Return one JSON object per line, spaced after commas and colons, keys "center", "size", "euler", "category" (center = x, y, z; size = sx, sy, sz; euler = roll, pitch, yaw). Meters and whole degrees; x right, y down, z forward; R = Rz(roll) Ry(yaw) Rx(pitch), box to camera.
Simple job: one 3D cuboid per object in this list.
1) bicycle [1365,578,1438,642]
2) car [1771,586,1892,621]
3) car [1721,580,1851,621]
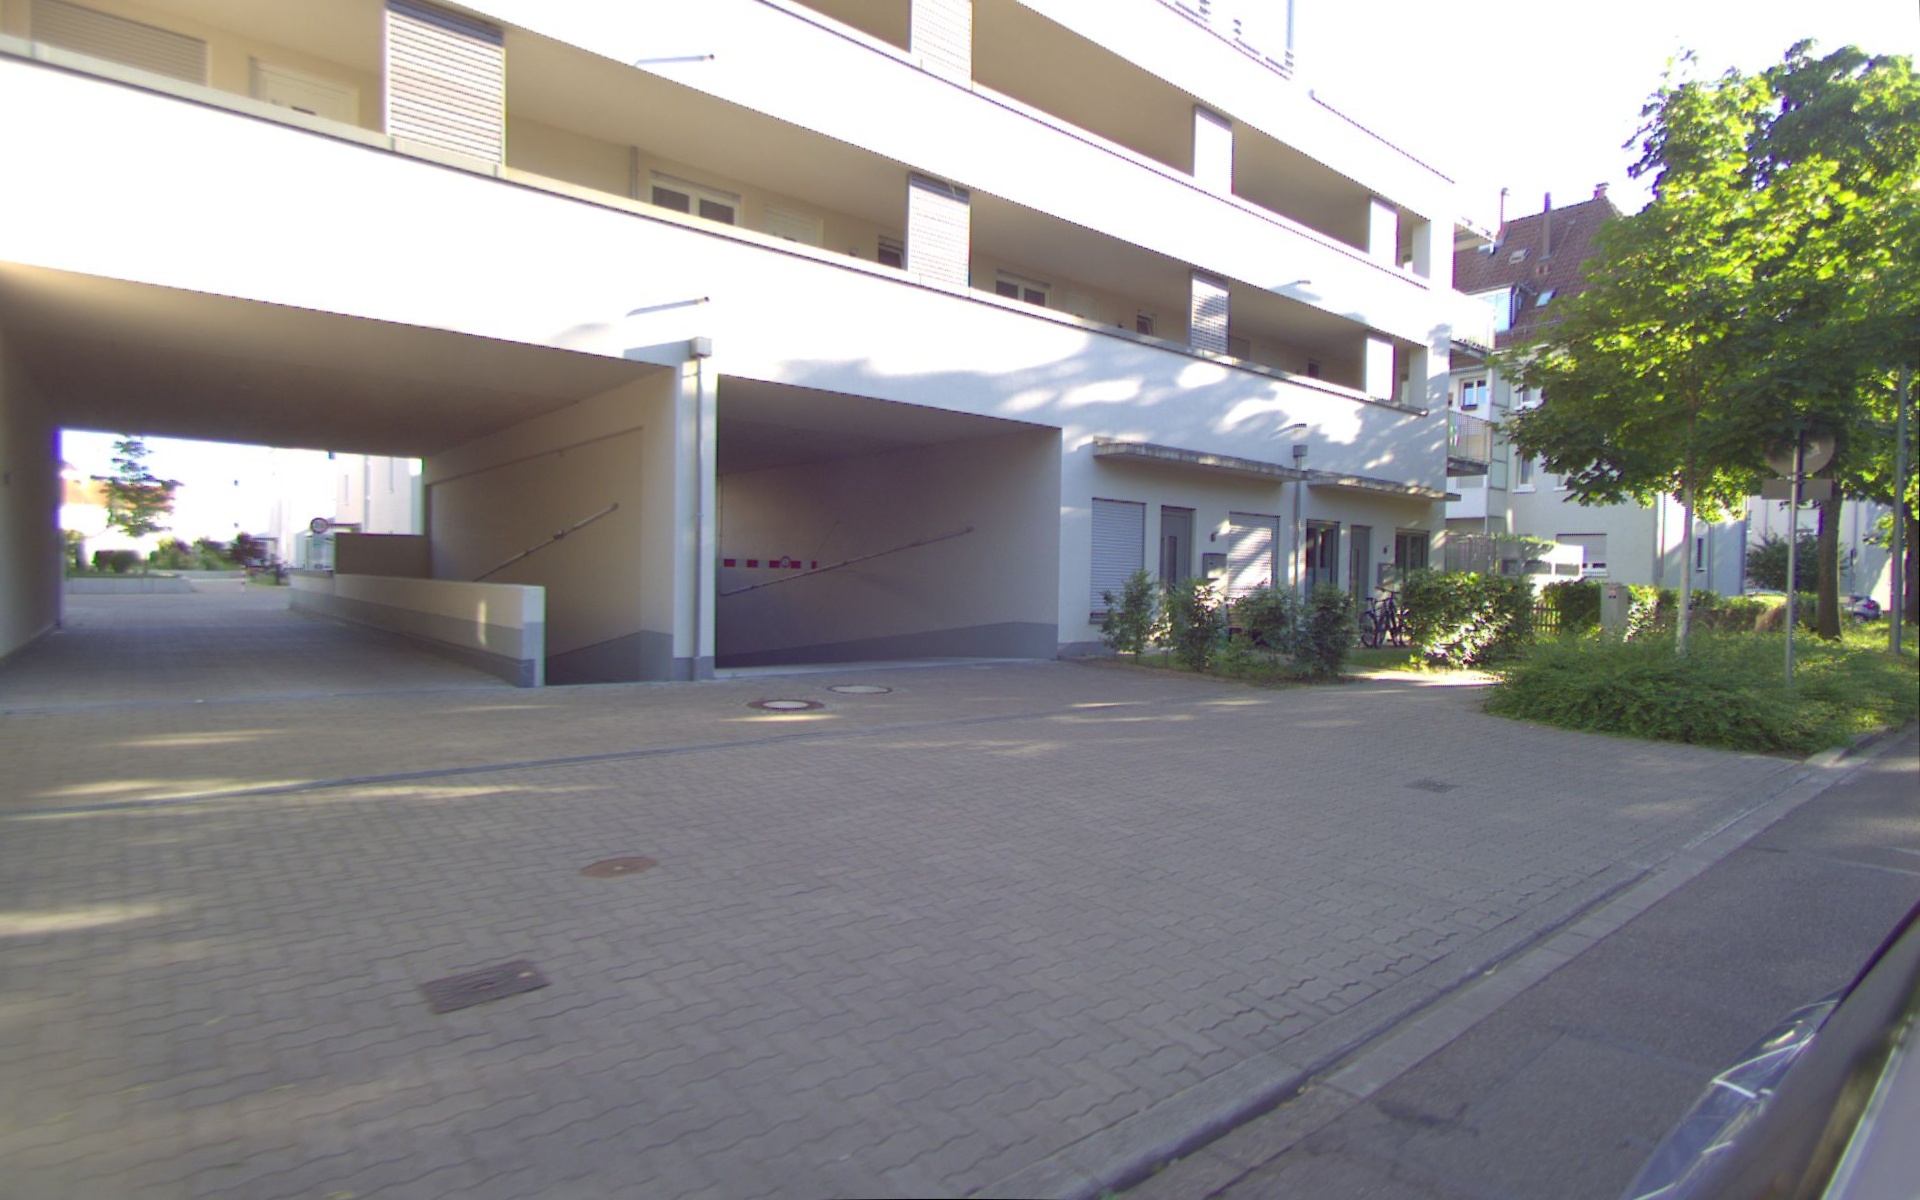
{"center": [8.647, 0.183, 19.778], "size": [1.722, 1.206, 0.619], "euler": [0, 0, -40], "category": "bicycle"}
{"center": [40.679, 0.145, 47.314], "size": [1.696, 1.533, 4.050], "euler": [-2, 2, -39], "category": "car"}
{"center": [34.894, -0.015, 42.838], "size": [1.777, 1.601, 3.996], "euler": [1, 1, -40], "category": "car"}
